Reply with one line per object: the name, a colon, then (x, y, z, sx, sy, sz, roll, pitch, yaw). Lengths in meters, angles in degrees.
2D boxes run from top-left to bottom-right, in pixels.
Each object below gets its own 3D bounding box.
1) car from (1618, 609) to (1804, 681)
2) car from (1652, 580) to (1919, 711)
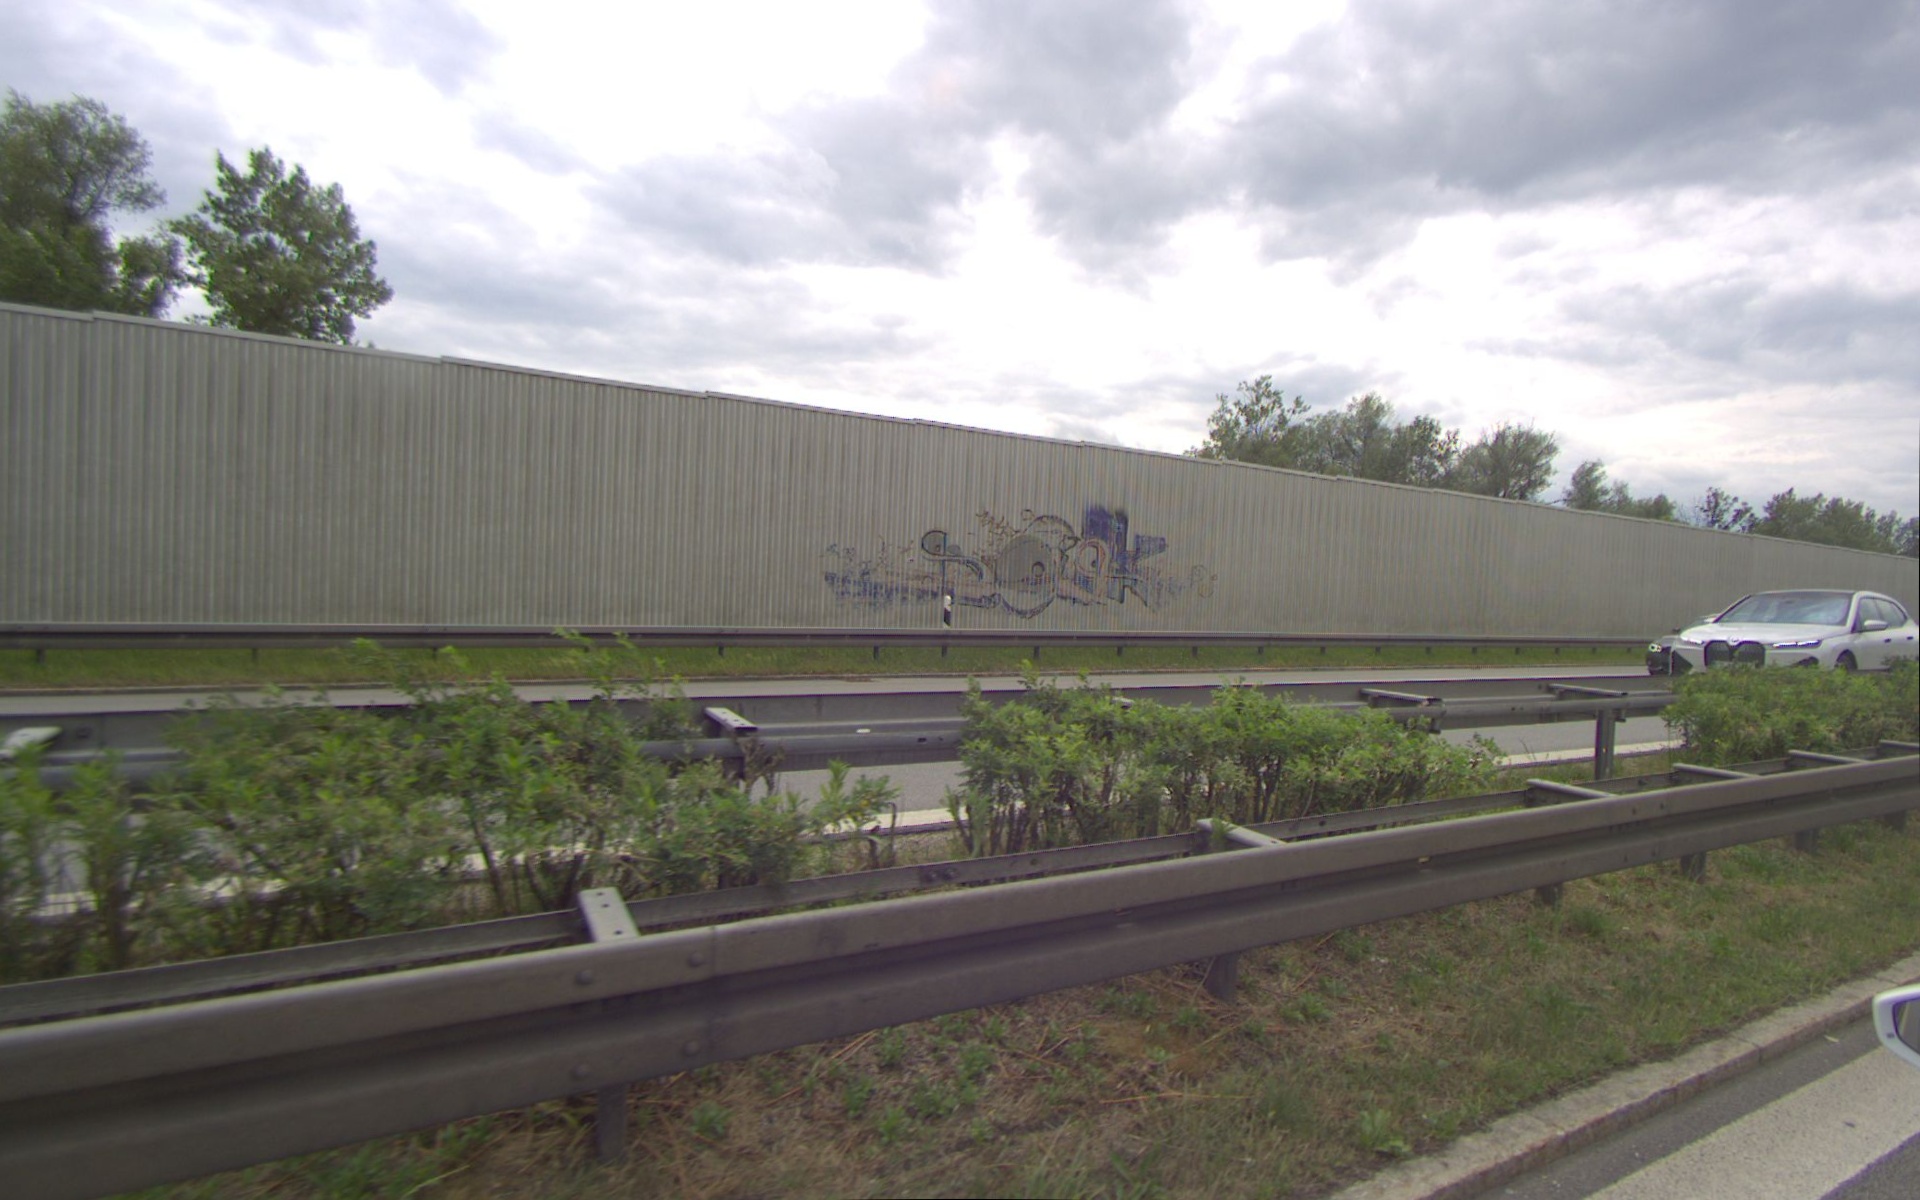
car: (16.569, 0.961, 22.101, 4.502, 1.436, 1.713, 2, -1, -31)
car: (12.811, 0.637, 15.197, 4.867, 1.692, 1.954, 2, 1, -31)
